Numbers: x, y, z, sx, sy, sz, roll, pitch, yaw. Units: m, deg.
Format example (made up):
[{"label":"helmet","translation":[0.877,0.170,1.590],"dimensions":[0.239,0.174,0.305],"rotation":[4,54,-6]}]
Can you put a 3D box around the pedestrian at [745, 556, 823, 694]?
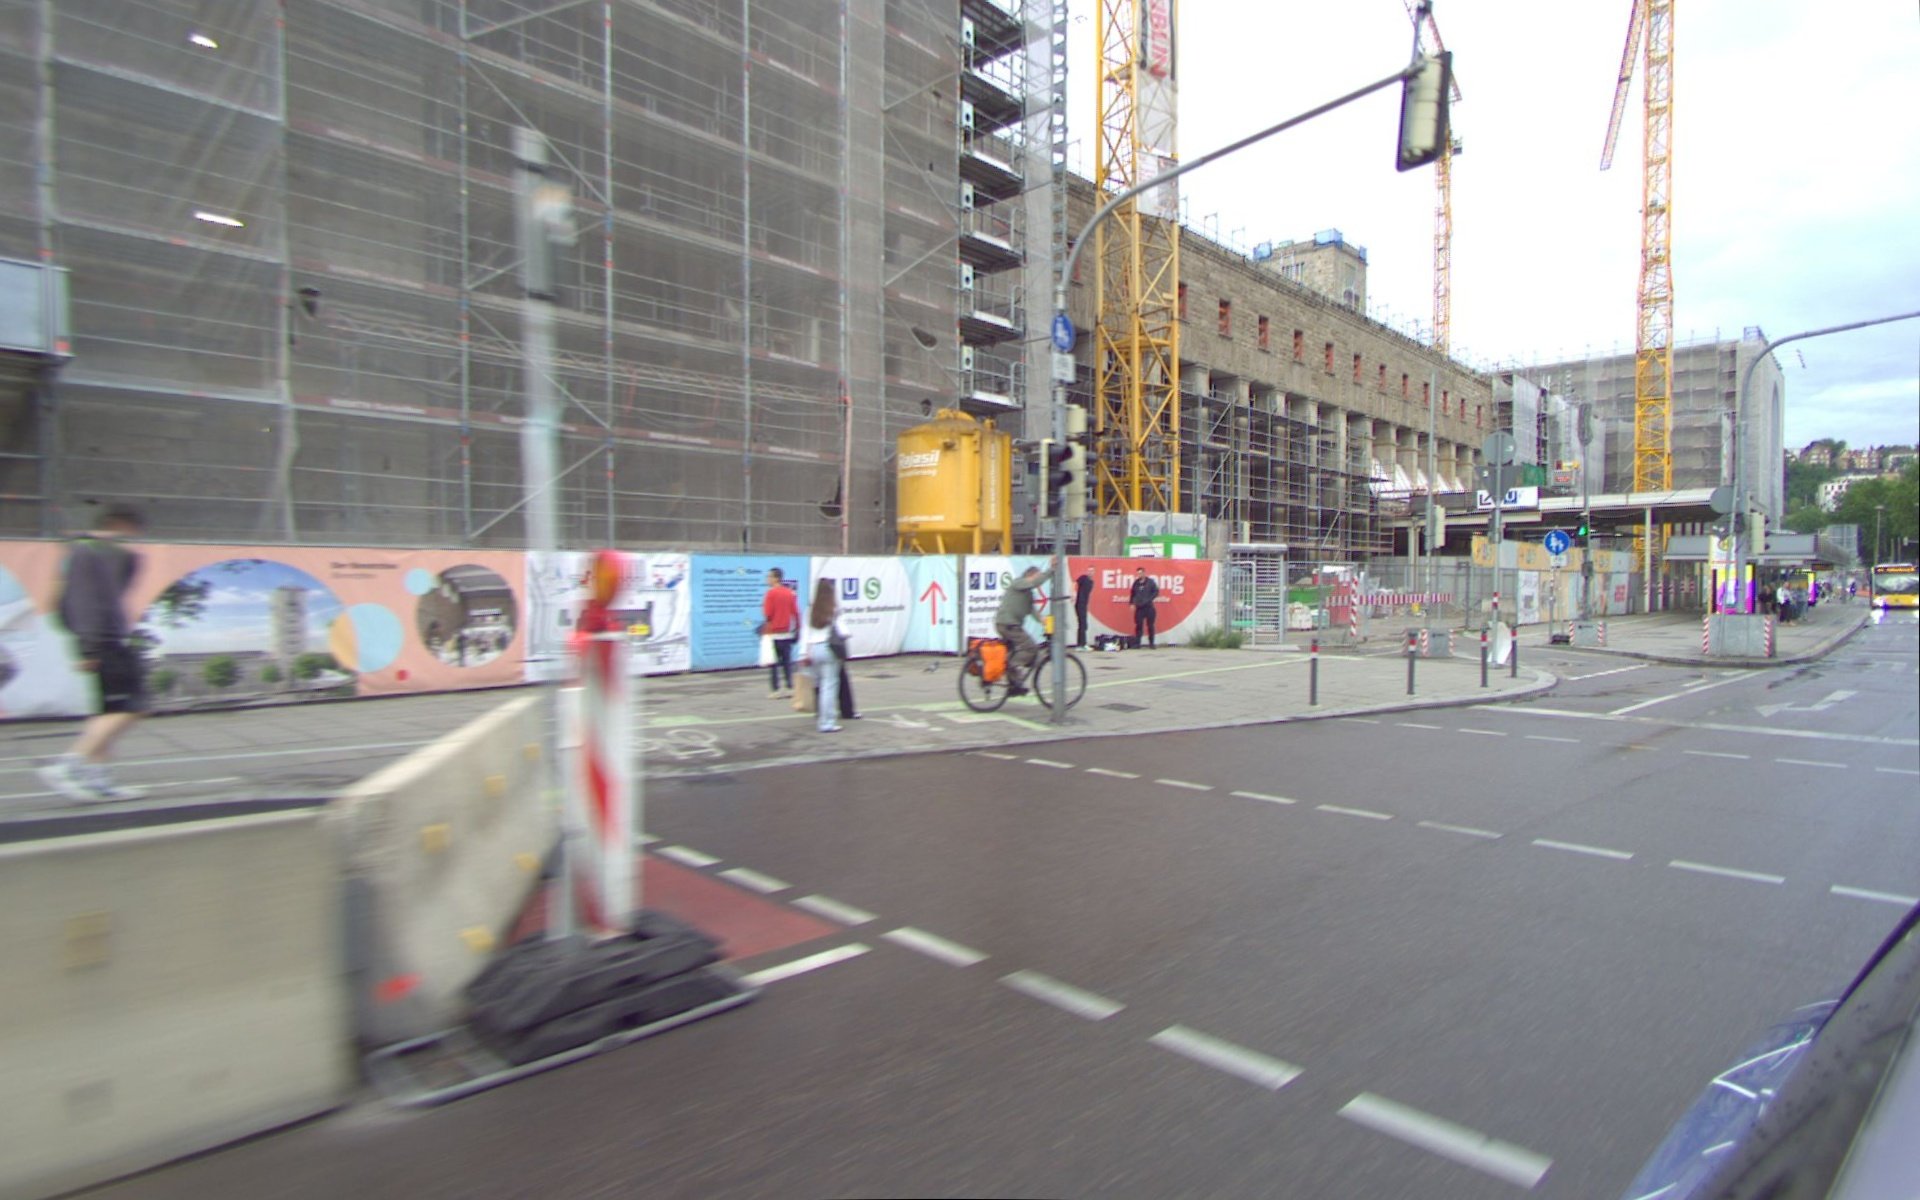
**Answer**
[{"label":"pedestrian","translation":[-2.316,0.316,13.287],"dimensions":[0.730,1.749,0.713],"rotation":[0,-1,-40]}]

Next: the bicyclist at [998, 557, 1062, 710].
[{"label":"bicyclist","translation":[0.811,0.365,11.819],"dimensions":[0.425,1.726,0.698],"rotation":[0,1,-27]}]

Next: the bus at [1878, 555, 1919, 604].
[{"label":"bus","translation":[64.556,-1.397,68.862],"dimensions":[2.990,3.177,7.647],"rotation":[2,2,42]}]

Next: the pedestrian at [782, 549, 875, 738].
[{"label":"pedestrian","translation":[-1.299,0.402,10.111],"dimensions":[0.790,1.776,0.816],"rotation":[1,4,2]}]

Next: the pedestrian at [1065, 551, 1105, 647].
[{"label":"pedestrian","translation":[2.687,-0.035,21.795],"dimensions":[0.615,2.039,0.642],"rotation":[0,1,-21]}]

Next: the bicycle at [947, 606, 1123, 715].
[{"label":"bicycle","translation":[0.891,0.670,11.879],"dimensions":[1.951,1.148,0.757],"rotation":[-1,1,-26]}]

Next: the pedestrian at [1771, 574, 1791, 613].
[{"label":"pedestrian","translation":[36.009,-0.287,44.397],"dimensions":[0.548,1.714,0.544],"rotation":[0,2,-41]}]

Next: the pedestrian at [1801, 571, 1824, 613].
[{"label":"pedestrian","translation":[37.678,-0.365,44.726],"dimensions":[0.722,1.846,0.645],"rotation":[0,2,-41]}]

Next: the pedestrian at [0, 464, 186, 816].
[{"label":"pedestrian","translation":[-5.485,0.235,6.386],"dimensions":[0.849,2.037,0.789],"rotation":[3,0,-36]}]

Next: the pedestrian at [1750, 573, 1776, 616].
[{"label":"pedestrian","translation":[32.544,-0.214,41.033],"dimensions":[0.608,1.714,0.681],"rotation":[0,2,-39]}]

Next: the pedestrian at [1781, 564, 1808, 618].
[{"label":"pedestrian","translation":[31.734,-0.348,38.483],"dimensions":[0.731,2.038,0.637],"rotation":[2,2,39]}]

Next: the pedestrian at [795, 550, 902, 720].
[{"label":"pedestrian","translation":[-1.238,0.352,11.206],"dimensions":[0.866,1.777,0.815],"rotation":[0,1,-40]}]

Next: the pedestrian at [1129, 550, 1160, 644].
[{"label":"pedestrian","translation":[4.092,-0.071,22.393],"dimensions":[0.618,2.039,0.576],"rotation":[1,1,13]}]
